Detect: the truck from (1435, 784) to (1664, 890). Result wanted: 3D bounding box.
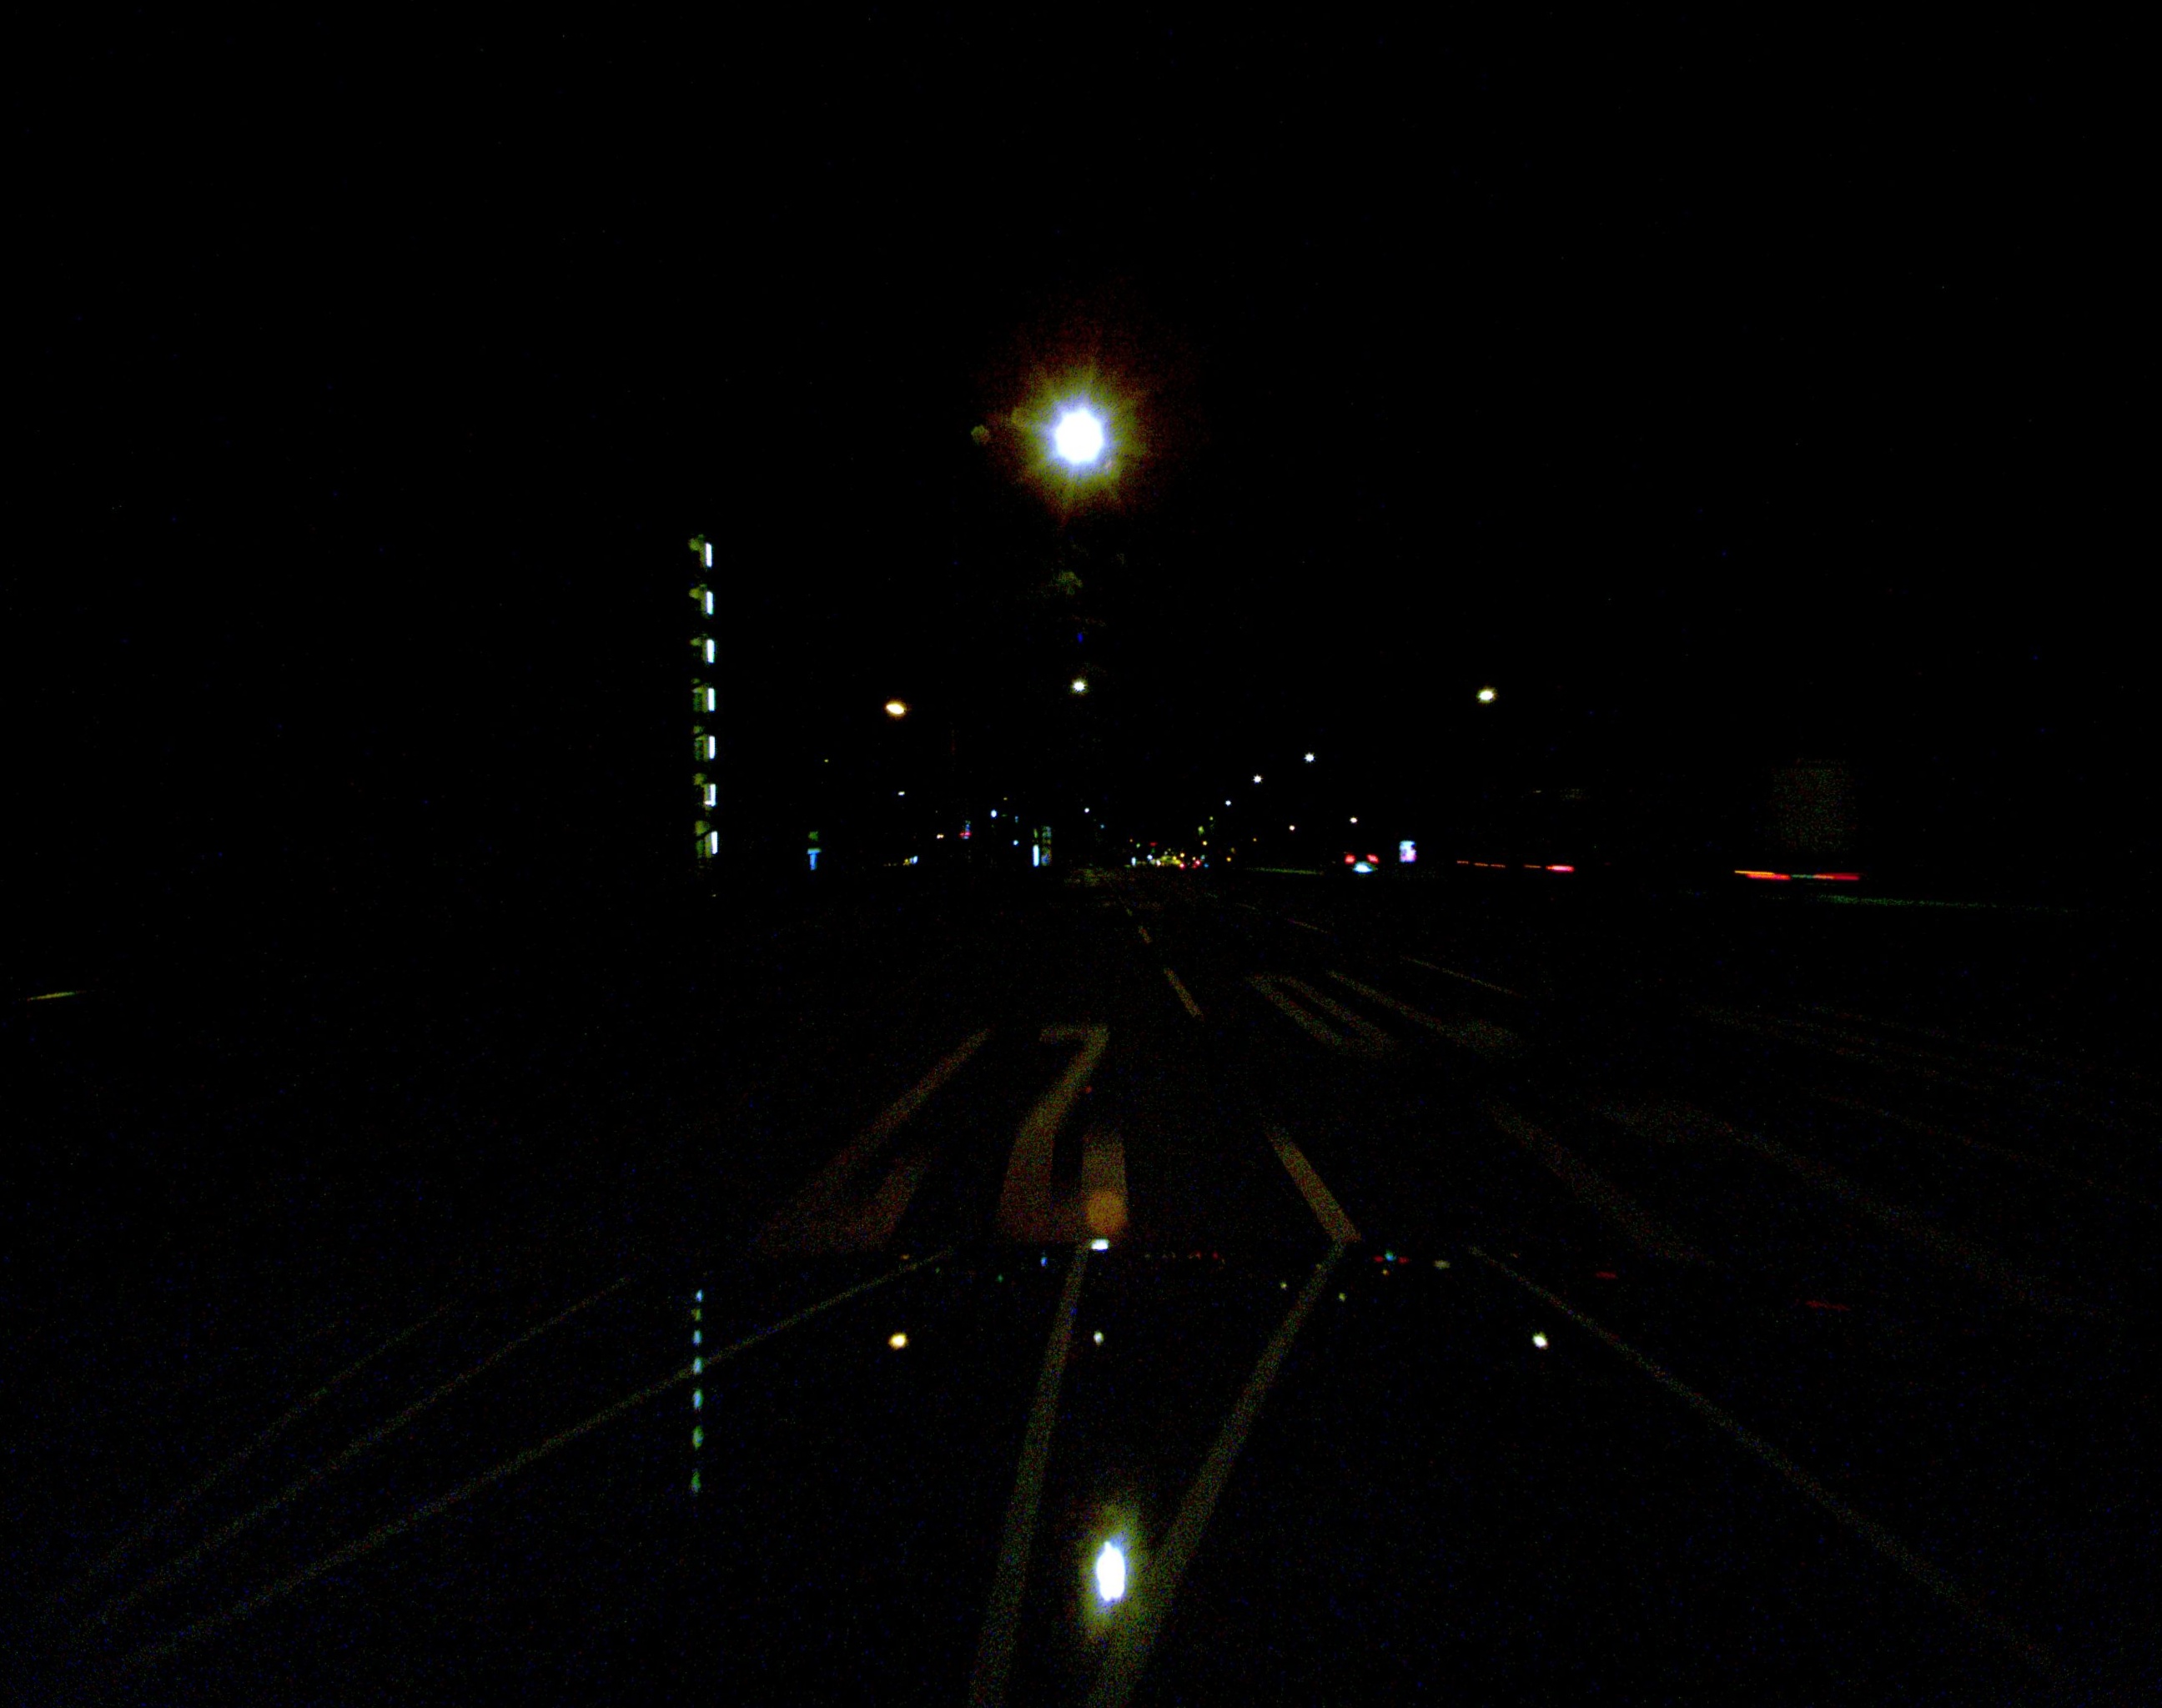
[{"bbox_3d":[20.438,-0.686,34.372,3.691,3.932,10.418,-2,1,-1],"label":"truck"}]

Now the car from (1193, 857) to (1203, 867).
[{"bbox_3d":[26.691,1.833,173.056,2.059,2.002,4.002,-2,1,9],"label":"car"}]

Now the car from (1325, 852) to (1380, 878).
[{"bbox_3d":[16.779,0.637,47.210,1.809,1.490,4.084,-1,1,-2],"label":"car"}]

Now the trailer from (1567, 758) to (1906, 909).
[{"bbox_3d":[20.581,-0.608,24.907,3.706,3.966,8.393,-2,1,-1],"label":"trailer"}]

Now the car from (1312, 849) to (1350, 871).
[{"bbox_3d":[19.736,0.432,60.113,1.730,1.616,3.961,-2,1,1],"label":"car"}]

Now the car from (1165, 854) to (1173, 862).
[{"bbox_3d":[21.982,0.965,190.262,1.794,1.896,4.001,-2,1,5],"label":"car"}]
